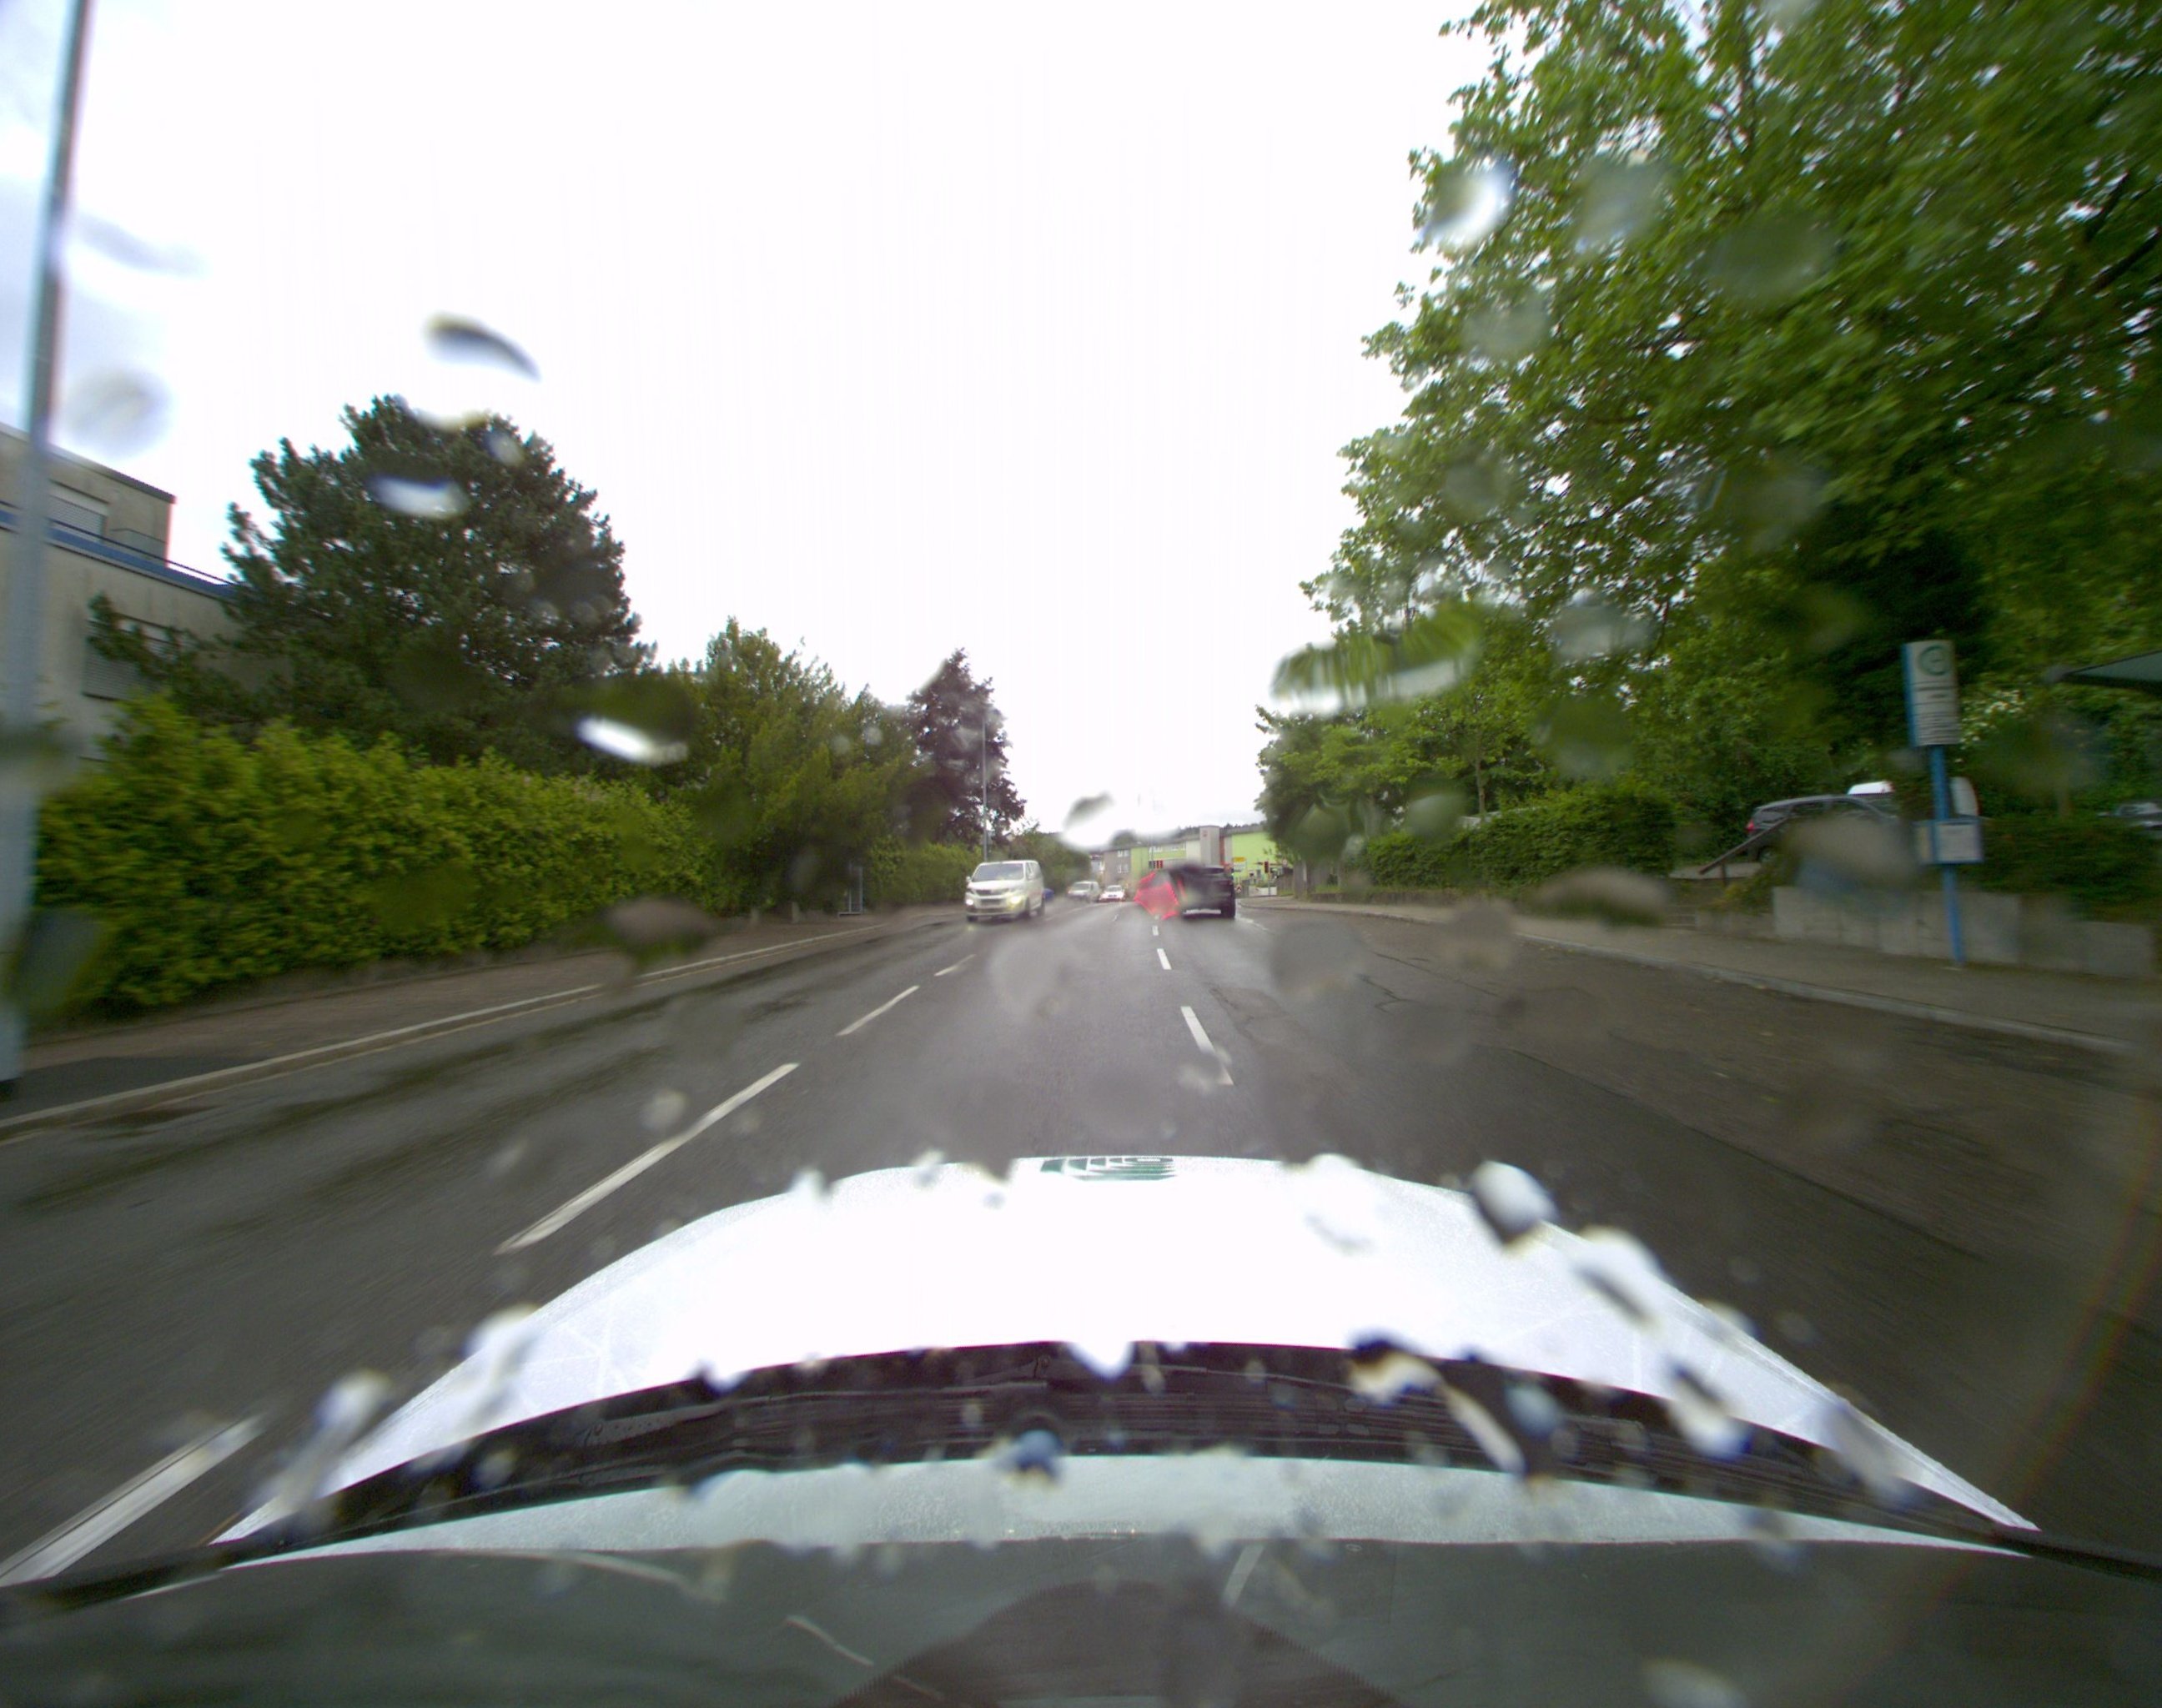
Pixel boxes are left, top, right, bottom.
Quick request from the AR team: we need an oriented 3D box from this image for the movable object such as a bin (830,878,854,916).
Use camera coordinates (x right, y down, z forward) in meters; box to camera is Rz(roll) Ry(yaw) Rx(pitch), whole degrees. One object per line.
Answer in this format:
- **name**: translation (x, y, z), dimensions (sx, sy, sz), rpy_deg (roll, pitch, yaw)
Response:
- **movable object such as a bin**: translation (-8.433, 1.517, 28.775), dimensions (0.545, 1.326, 0.807), rpy_deg (-1, -1, 4)

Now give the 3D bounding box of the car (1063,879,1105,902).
- **car**: translation (0.272, 2.840, 62.768), dimensions (1.685, 1.708, 4.000), rpy_deg (0, -3, 24)

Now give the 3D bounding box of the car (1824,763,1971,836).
- **car**: translation (25.437, -1.604, 25.318), dimensions (5.220, 2.013, 1.980), rpy_deg (0, 1, -31)

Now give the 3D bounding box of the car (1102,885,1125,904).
- **car**: translation (3.028, 3.699, 74.468), dimensions (1.626, 1.580, 4.064), rpy_deg (-5, -3, 7)

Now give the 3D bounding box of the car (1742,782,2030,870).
- **car**: translation (16.546, -0.554, 17.095), dimensions (1.816, 1.583, 4.167), rpy_deg (1, 1, -3)

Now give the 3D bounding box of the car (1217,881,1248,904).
- **car**: translation (10.641, 2.667, 57.104), dimensions (1.980, 1.442, 4.013), rpy_deg (0, -1, 12)

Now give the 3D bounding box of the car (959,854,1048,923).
- **car**: translation (-2.394, 1.061, 26.552), dimensions (1.854, 1.916, 5.036), rpy_deg (-4, -1, 5)

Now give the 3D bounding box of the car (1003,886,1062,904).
- **car**: translation (-3.790, 3.232, 64.189), dimensions (4.464, 1.362, 1.806), rpy_deg (0, -2, 2)

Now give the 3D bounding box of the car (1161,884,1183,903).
- **car**: translation (8.027, 3.495, 72.101), dimensions (1.675, 1.506, 3.777), rpy_deg (-2, -1, 4)

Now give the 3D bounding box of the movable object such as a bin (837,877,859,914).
- **movable object such as a bin**: translation (-8.603, 1.523, 30.079), dimensions (0.545, 1.326, 0.807), rpy_deg (-1, -1, 4)

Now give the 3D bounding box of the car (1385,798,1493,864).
- **car**: translation (13.053, -0.816, 29.983), dimensions (1.989, 2.226, 4.129), rpy_deg (-1, 1, -3)

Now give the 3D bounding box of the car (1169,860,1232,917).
- **car**: translation (3.751, 1.031, 25.873), dimensions (1.780, 1.603, 4.261), rpy_deg (-2, -1, 7)

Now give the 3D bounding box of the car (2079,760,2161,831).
- **car**: translation (27.978, -1.471, 21.270), dimensions (4.192, 1.665, 1.786), rpy_deg (0, 1, -31)
